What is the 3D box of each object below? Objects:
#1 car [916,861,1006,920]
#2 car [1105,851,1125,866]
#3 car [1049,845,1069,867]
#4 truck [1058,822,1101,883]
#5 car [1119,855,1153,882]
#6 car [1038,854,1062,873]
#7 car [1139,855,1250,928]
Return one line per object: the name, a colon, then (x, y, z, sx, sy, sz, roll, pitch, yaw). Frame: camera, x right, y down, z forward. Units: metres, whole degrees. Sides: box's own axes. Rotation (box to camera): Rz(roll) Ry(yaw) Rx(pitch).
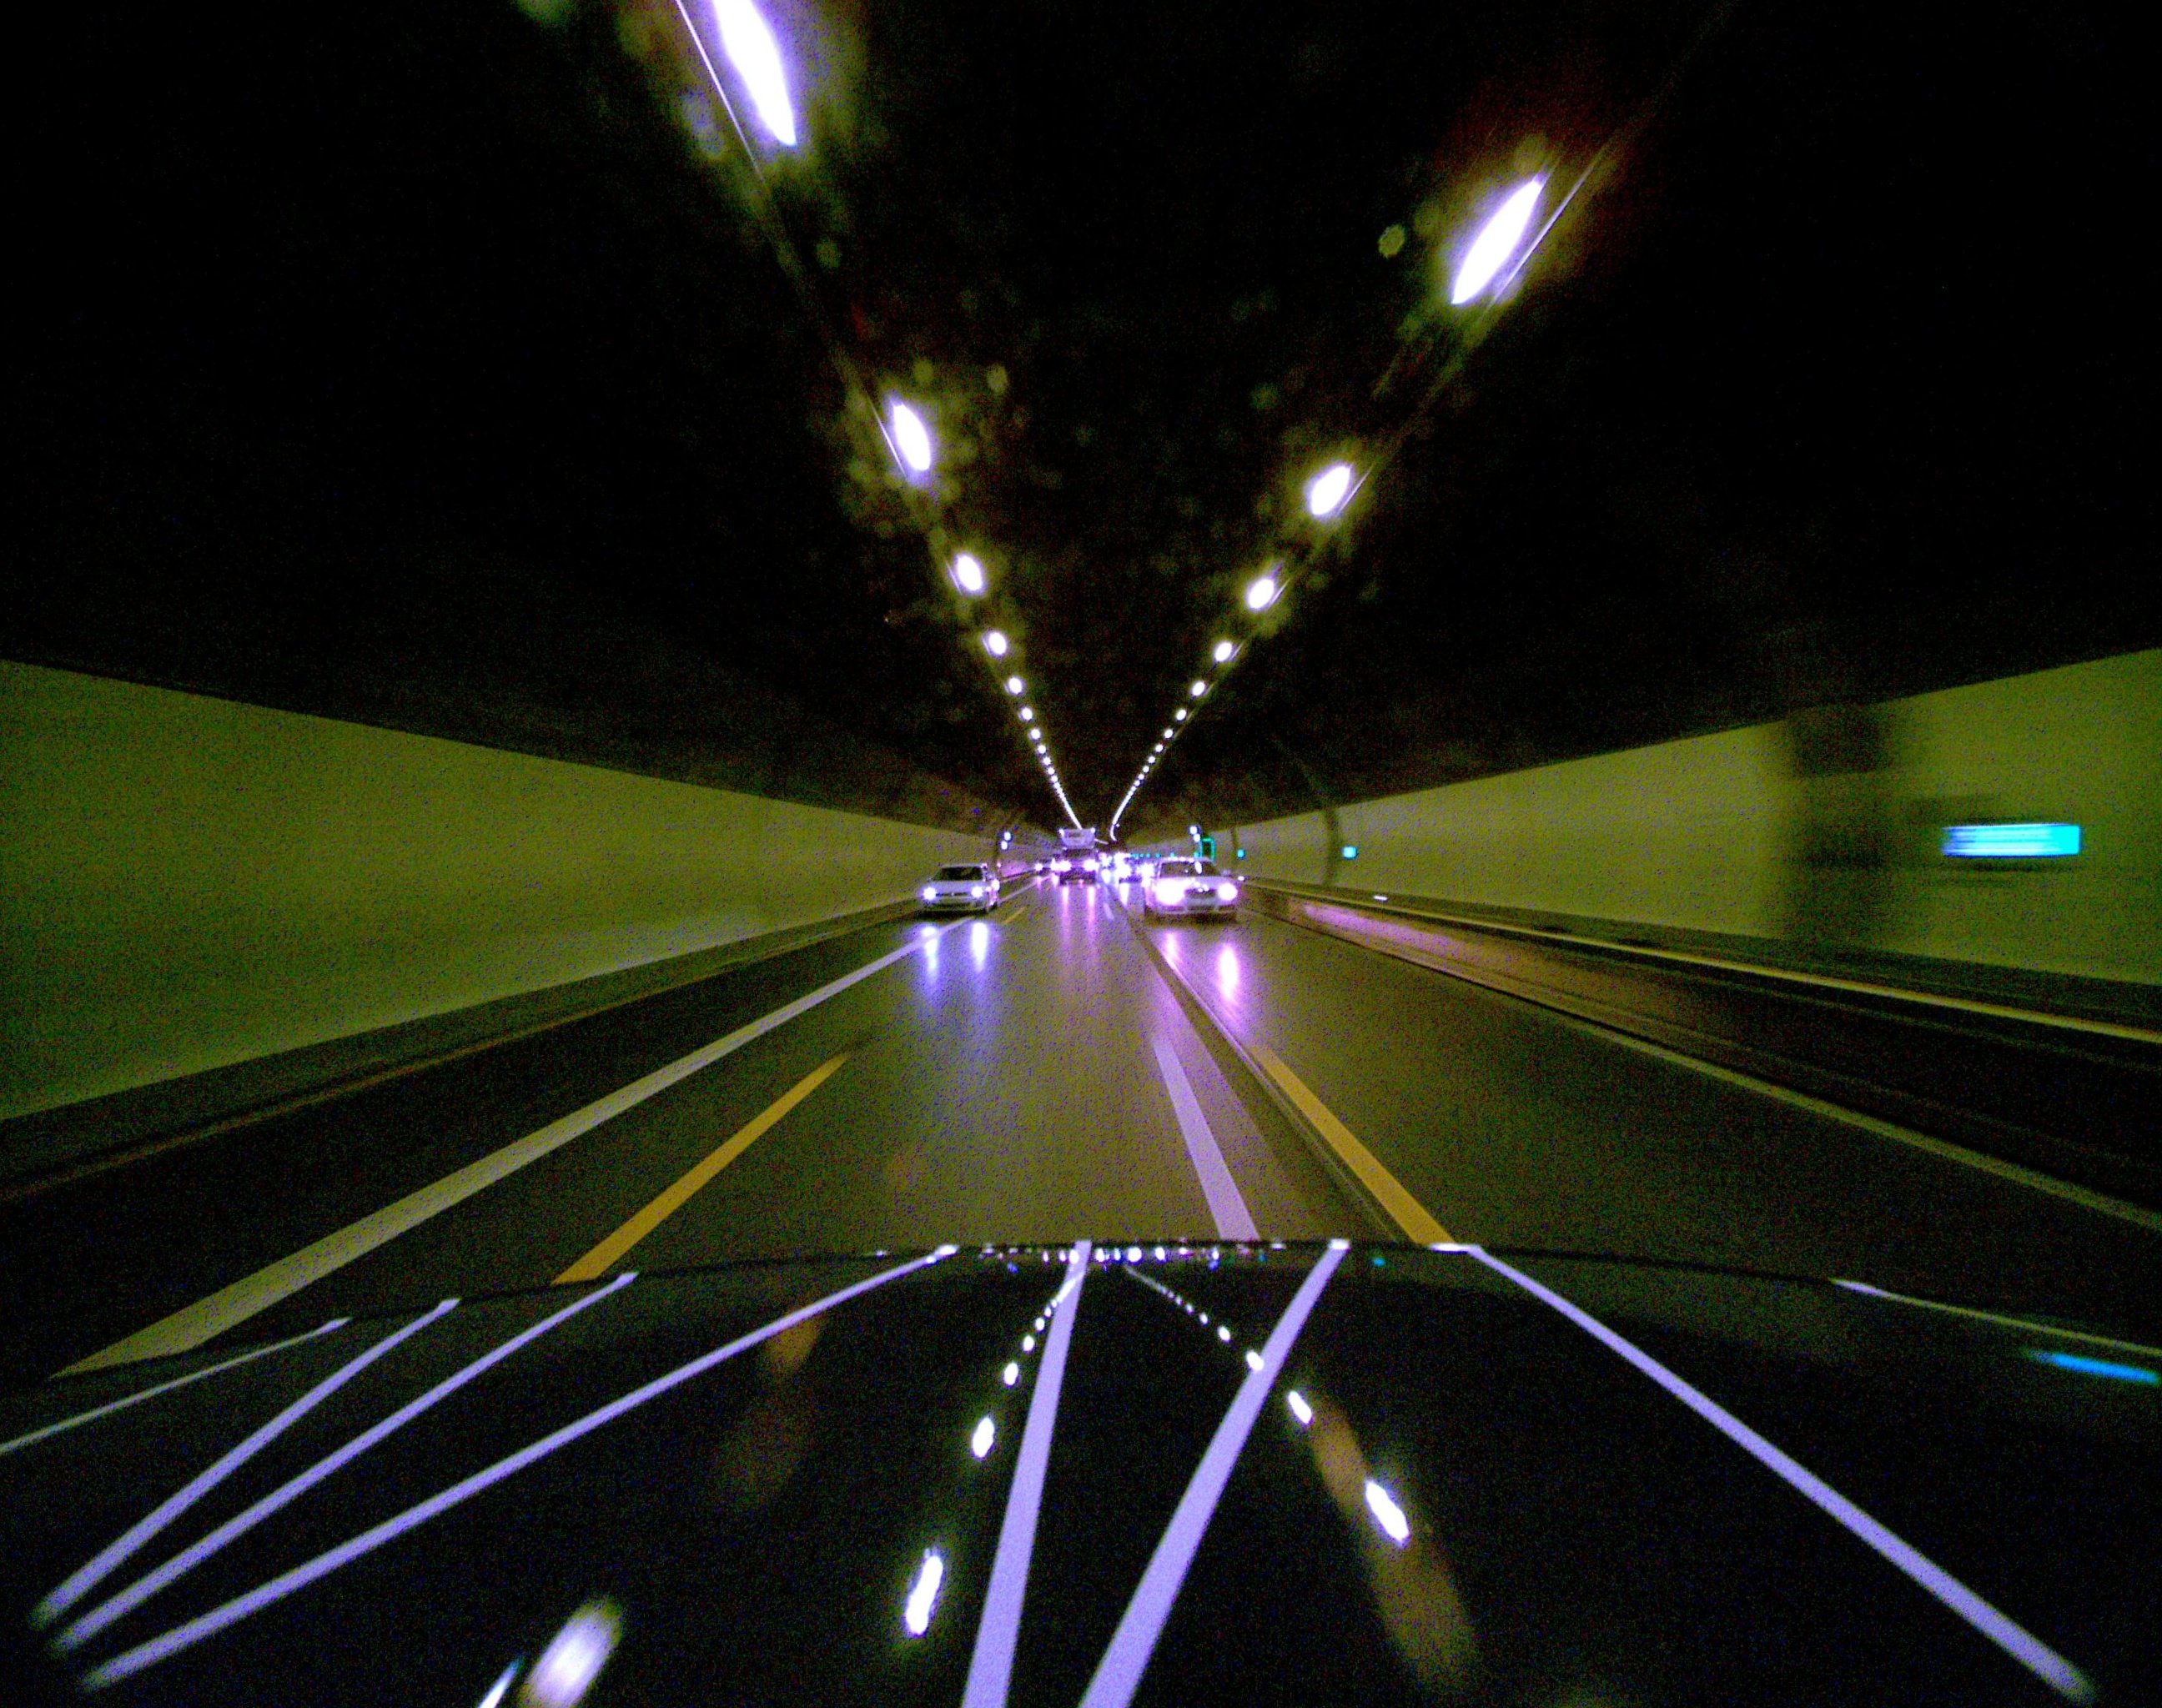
car: (-3.396, 0.998, 22.200, 1.801, 1.452, 4.035, -2, 0, 2)
car: (3.915, 0.542, 88.663, 1.958, 1.528, 4.757, -5, 1, 0)
car: (-2.779, 0.244, 97.418, 2.124, 2.629, 6.229, -3, 1, 0)
truck: (-0.067, -0.108, 45.794, 2.262, 3.238, 7.382, -2, 0, 0)
car: (3.120, 0.786, 43.578, 1.657, 1.395, 3.656, -2, 0, 0)
car: (-2.783, 0.808, 68.813, 1.958, 1.528, 4.757, -3, 1, 0)
car: (2.571, 0.802, 18.417, 1.908, 1.476, 4.943, -1, 0, 0)
